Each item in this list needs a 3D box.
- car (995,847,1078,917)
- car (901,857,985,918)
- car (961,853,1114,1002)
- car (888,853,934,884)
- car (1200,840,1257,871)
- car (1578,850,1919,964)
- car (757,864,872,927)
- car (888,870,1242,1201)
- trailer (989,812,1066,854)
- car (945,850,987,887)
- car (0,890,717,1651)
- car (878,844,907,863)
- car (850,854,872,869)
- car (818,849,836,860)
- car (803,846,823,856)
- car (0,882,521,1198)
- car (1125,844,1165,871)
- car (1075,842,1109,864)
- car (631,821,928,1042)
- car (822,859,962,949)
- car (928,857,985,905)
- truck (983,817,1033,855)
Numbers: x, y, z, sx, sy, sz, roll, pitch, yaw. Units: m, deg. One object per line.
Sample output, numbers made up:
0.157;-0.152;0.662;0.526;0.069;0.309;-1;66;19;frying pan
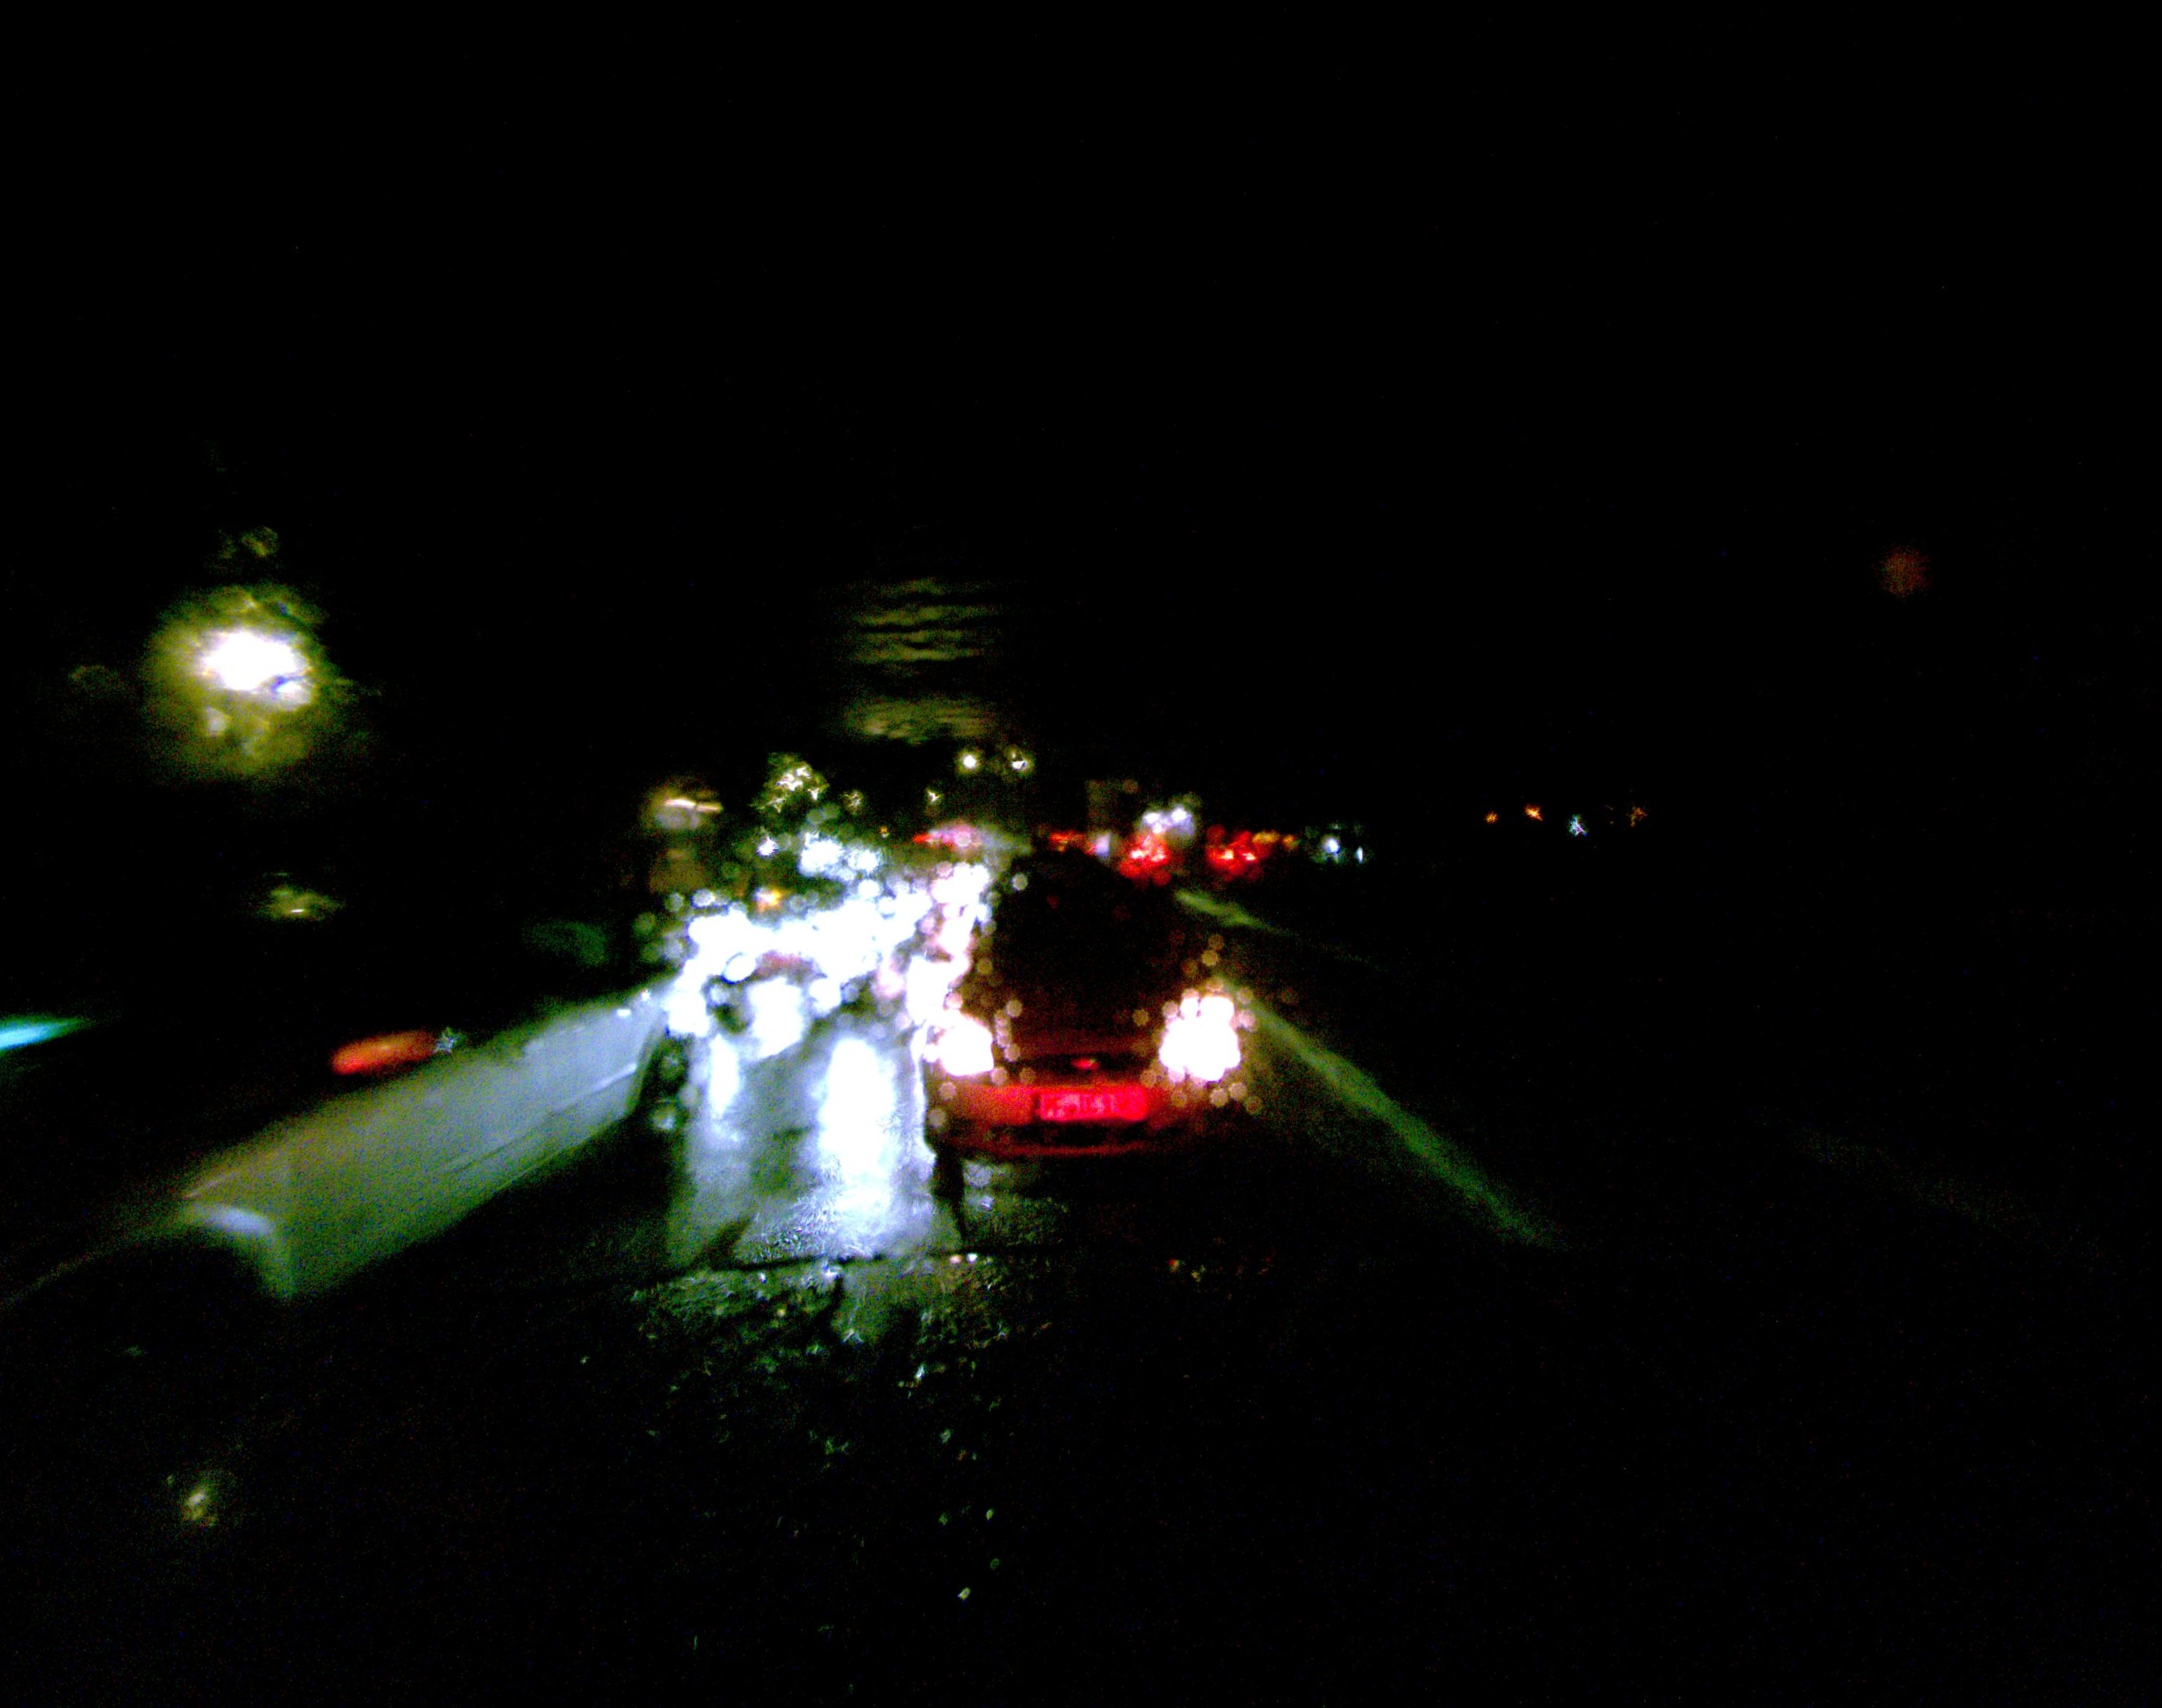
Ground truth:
-1.110;0.633;19.712;1.881;1.534;3.999;-2;1;-2;car
-3.919;0.892;22.192;1.629;1.494;3.999;-2;1;1;car
-0.466;0.838;10.627;1.683;1.591;3.996;-2;1;1;car
-8.678;0.709;39.103;1.854;1.447;4.499;-1;0;-7;car
9.024;0.082;46.798;1.860;1.739;4.501;-2;1;-11;car
10.771;0.780;12.750;1.912;1.578;4.080;1;-1;-6;car
-7.141;1.050;20.854;1.853;1.476;4.627;-1;0;-5;car
-0.046;0.895;5.517;1.603;1.360;3.942;-2;1;1;car
-6.250;-2.140;84.654;3.974;4.152;13.892;-3;1;-24;trailer
-5.386;0.649;36.055;1.743;1.581;3.997;-2;1;-6;car
-3.186;0.994;2.688;1.792;1.359;3.999;-2;2;0;car
-16.156;-0.080;65.042;1.856;1.423;4.493;-3;2;-21;car
-23.493;0.816;81.199;1.884;1.463;3.993;-3;1;-21;car
-35.886;0.085;107.368;1.885;1.463;3.991;-3;1;-26;car
-43.855;-0.530;124.105;1.885;1.463;3.989;-3;1;-37;car
-6.699;1.084;5.621;1.842;1.469;4.626;-2;1;-4;car
4.447;0.228;53.488;1.910;1.731;4.395;-2;1;-7;car
0.929;-0.105;65.969;1.971;1.731;4.913;-2;1;-10;car
-3.368;0.736;9.587;1.999;2.076;4.347;-2;1;-1;car
-3.740;0.932;15.749;1.869;1.503;3.766;-2;1;1;car
-4.381;0.894;27.209;1.683;1.463;3.998;-2;1;-5;car
-8.732;-2.106;90.335;3.974;4.152;6.364;-3;1;-24;truck
